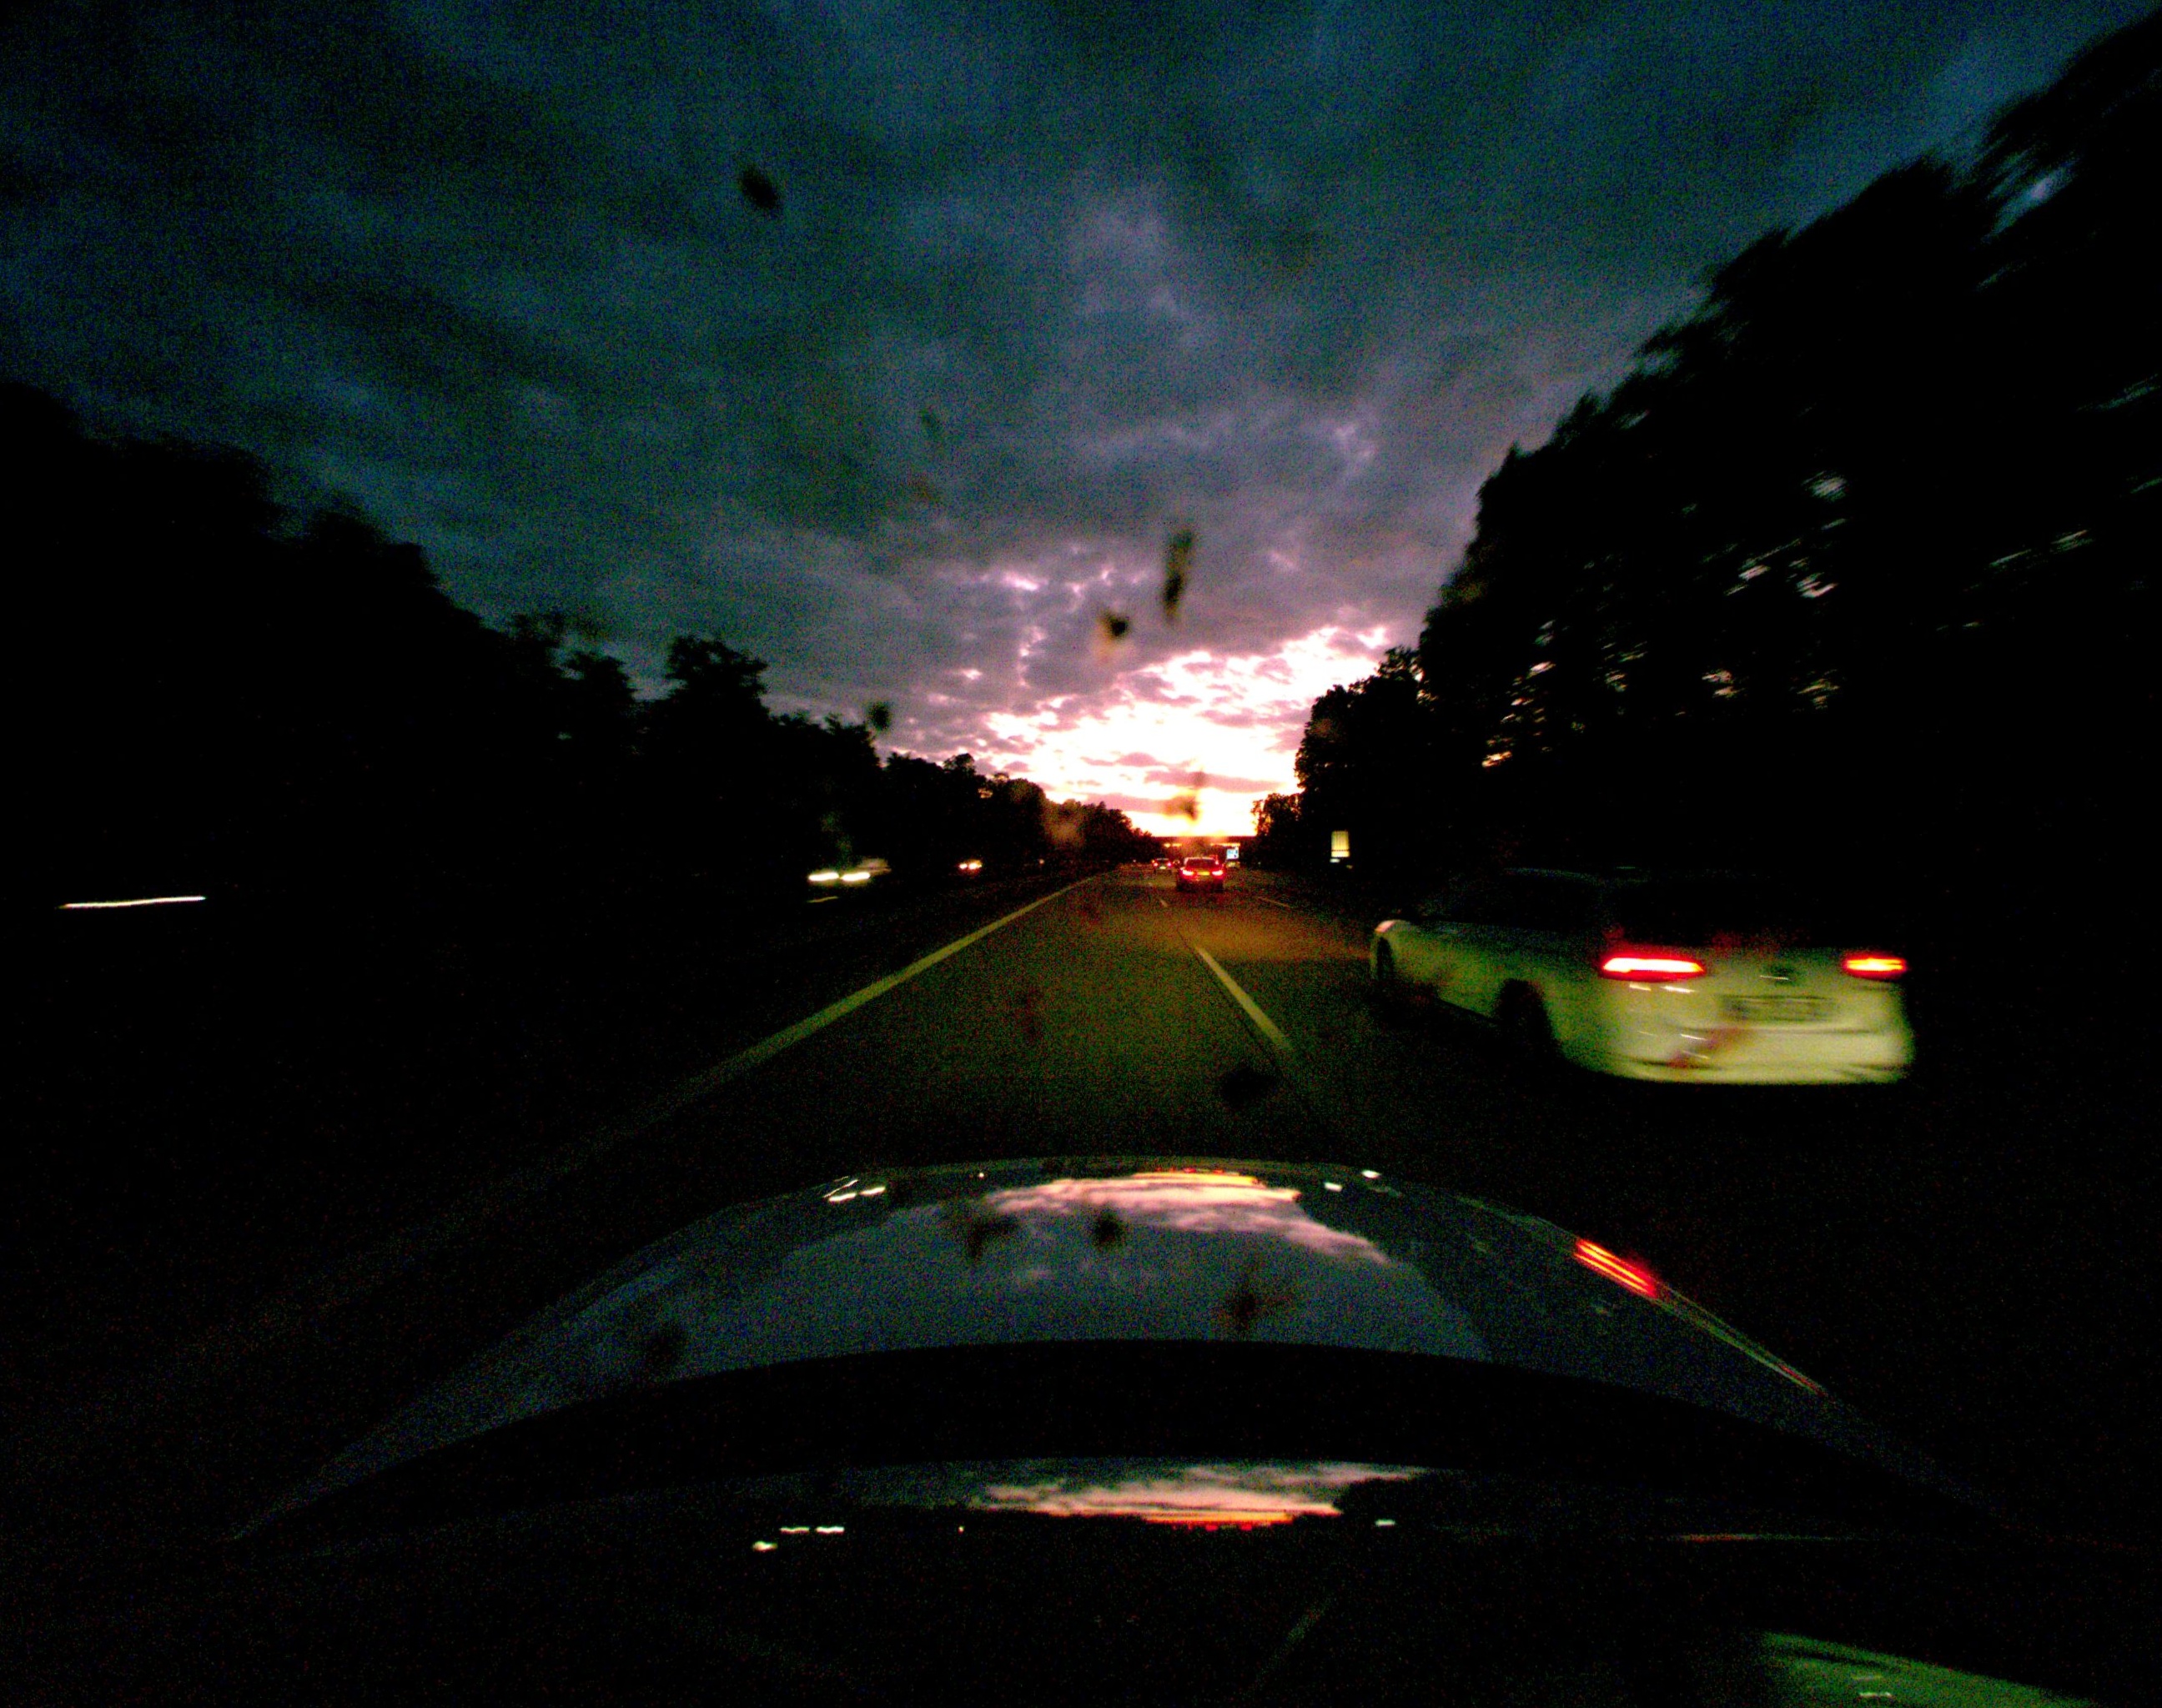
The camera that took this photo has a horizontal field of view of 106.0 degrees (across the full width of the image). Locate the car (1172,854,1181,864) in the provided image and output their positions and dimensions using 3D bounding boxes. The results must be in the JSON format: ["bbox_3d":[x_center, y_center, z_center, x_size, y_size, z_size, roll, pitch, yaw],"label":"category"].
[{"bbox_3d":[25.121,1.319,214.708,2.154,2.419,5.574,-1,-2,7],"label":"car"}]

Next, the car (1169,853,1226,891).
[{"bbox_3d":[5.167,0.746,36.750,1.902,1.537,5.232,-1,0,1],"label":"car"}]

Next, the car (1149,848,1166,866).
[{"bbox_3d":[11.138,0.490,118.414,2.154,2.419,5.574,-1,-2,7],"label":"car"}]

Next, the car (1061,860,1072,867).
[{"bbox_3d":[-2.938,1.912,164.397,1.833,1.455,3.608,-1,0,6],"label":"car"}]

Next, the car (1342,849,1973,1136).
[{"bbox_3d":[3.821,0.709,6.809,1.802,1.466,5.135,-1,0,2],"label":"car"}]

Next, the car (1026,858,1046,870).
[{"bbox_3d":[-5.513,1.228,100.772,1.807,1.381,4.913,0,0,4],"label":"car"}]

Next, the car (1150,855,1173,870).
[{"bbox_3d":[8.120,0.814,82.385,1.854,1.442,3.719,-1,0,-1],"label":"car"}]

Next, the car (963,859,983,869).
[{"bbox_3d":[-15.002,1.380,113.072,1.807,1.381,4.913,0,0,4],"label":"car"}]

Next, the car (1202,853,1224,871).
[{"bbox_3d":[12.583,0.773,77.740,1.892,1.643,5.062,-1,-1,8],"label":"car"}]

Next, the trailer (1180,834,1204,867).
[{"bbox_3d":[14.873,-0.356,109.414,2.892,4.101,10.374,0,-2,6],"label":"trailer"}]

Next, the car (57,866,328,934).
[{"bbox_3d":[-22.720,1.099,21.175,1.843,1.497,4.598,-1,0,3],"label":"car"}]

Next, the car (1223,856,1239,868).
[{"bbox_3d":[18.713,1.042,101.521,1.848,1.442,4.122,-1,-2,9],"label":"car"}]

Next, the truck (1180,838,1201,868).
[{"bbox_3d":[16.048,-0.053,119.968,2.870,4.101,10.849,0,-2,6],"label":"truck"}]

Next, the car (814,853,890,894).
[{"bbox_3d":[-10.309,0.846,37.088,1.985,1.705,4.553,-1,0,2],"label":"car"}]
